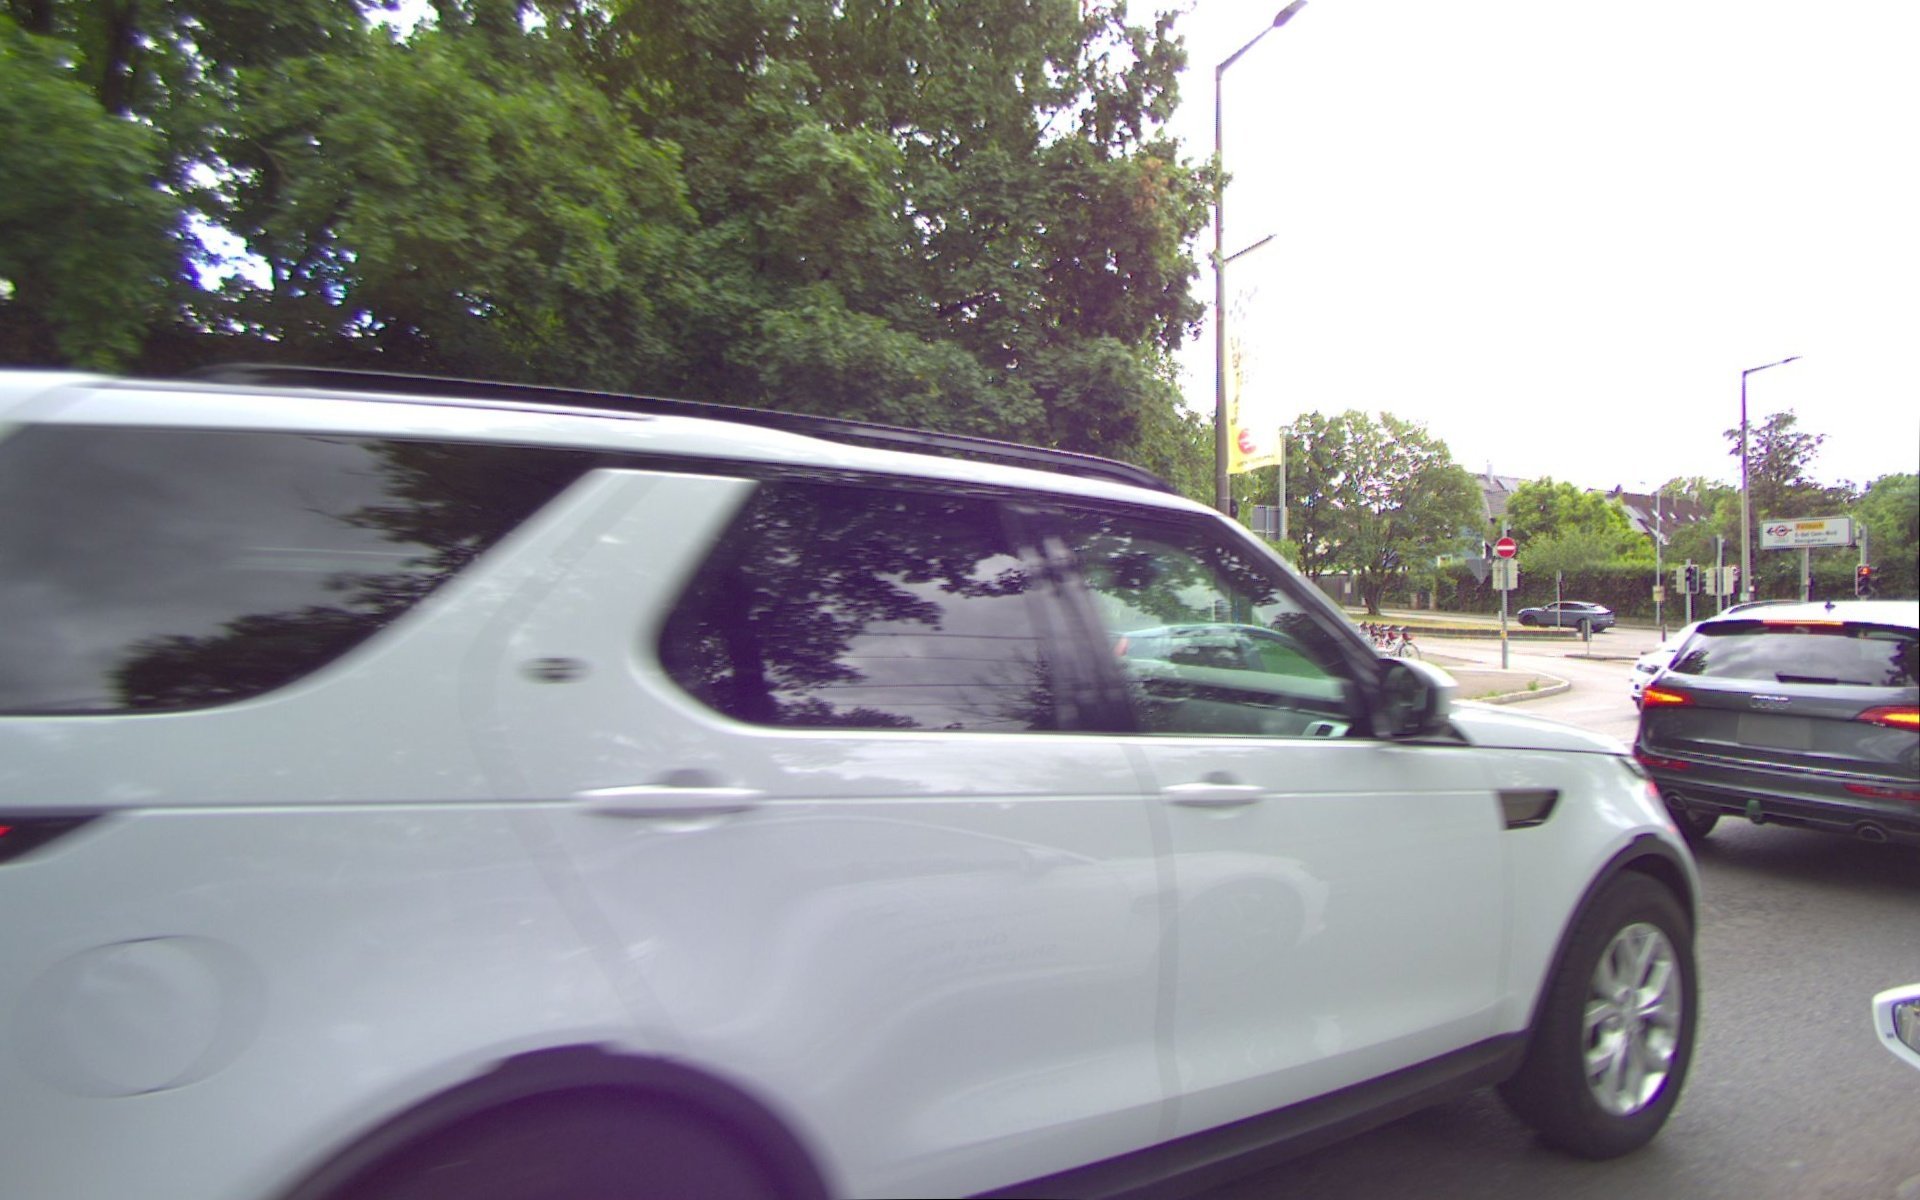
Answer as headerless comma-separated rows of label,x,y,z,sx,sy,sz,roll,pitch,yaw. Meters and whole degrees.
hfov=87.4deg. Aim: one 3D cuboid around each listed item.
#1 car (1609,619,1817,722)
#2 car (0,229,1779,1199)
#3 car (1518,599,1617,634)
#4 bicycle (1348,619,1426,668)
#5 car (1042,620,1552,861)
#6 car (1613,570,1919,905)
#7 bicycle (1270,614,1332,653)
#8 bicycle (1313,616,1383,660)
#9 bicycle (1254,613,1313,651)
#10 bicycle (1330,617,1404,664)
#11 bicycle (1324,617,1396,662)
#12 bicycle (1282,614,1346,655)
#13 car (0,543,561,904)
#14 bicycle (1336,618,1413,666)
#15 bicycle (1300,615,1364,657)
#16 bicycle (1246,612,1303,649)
car,13.268,1.163,17.645,3.869,1.559,1.729,1,0,-34
car,0.147,0.552,2.780,4.450,1.819,1.795,2,0,-30
car,34.190,0.920,56.672,1.928,1.836,4.405,1,0,-32
bicycle,11.831,1.194,27.871,1.896,1.269,0.546,2,1,8
car,2.690,0.929,7.861,3.880,1.487,1.585,1,-2,-28
car,6.541,0.774,6.886,4.283,1.741,1.743,2,-1,-30
bicycle,11.646,1.133,34.309,1.896,1.269,0.546,2,1,4
bicycle,12.000,1.172,31.121,1.896,1.269,0.546,2,1,8
bicycle,11.411,1.116,35.423,1.899,1.269,0.545,2,1,-8
bicycle,11.826,1.183,29.230,1.896,1.269,0.546,2,1,8
bicycle,11.999,1.180,30.192,1.896,1.269,0.546,2,1,8
bicycle,11.762,1.145,33.370,1.896,1.269,0.546,2,1,4
car,-4.925,0.664,6.210,4.358,1.855,1.783,1,-2,-31
bicycle,11.776,1.187,28.574,1.896,1.269,0.546,1,1,8
bicycle,11.893,1.160,32.108,1.902,1.269,0.544,2,1,-13
bicycle,11.313,1.107,36.132,1.902,1.269,0.544,2,1,-13
